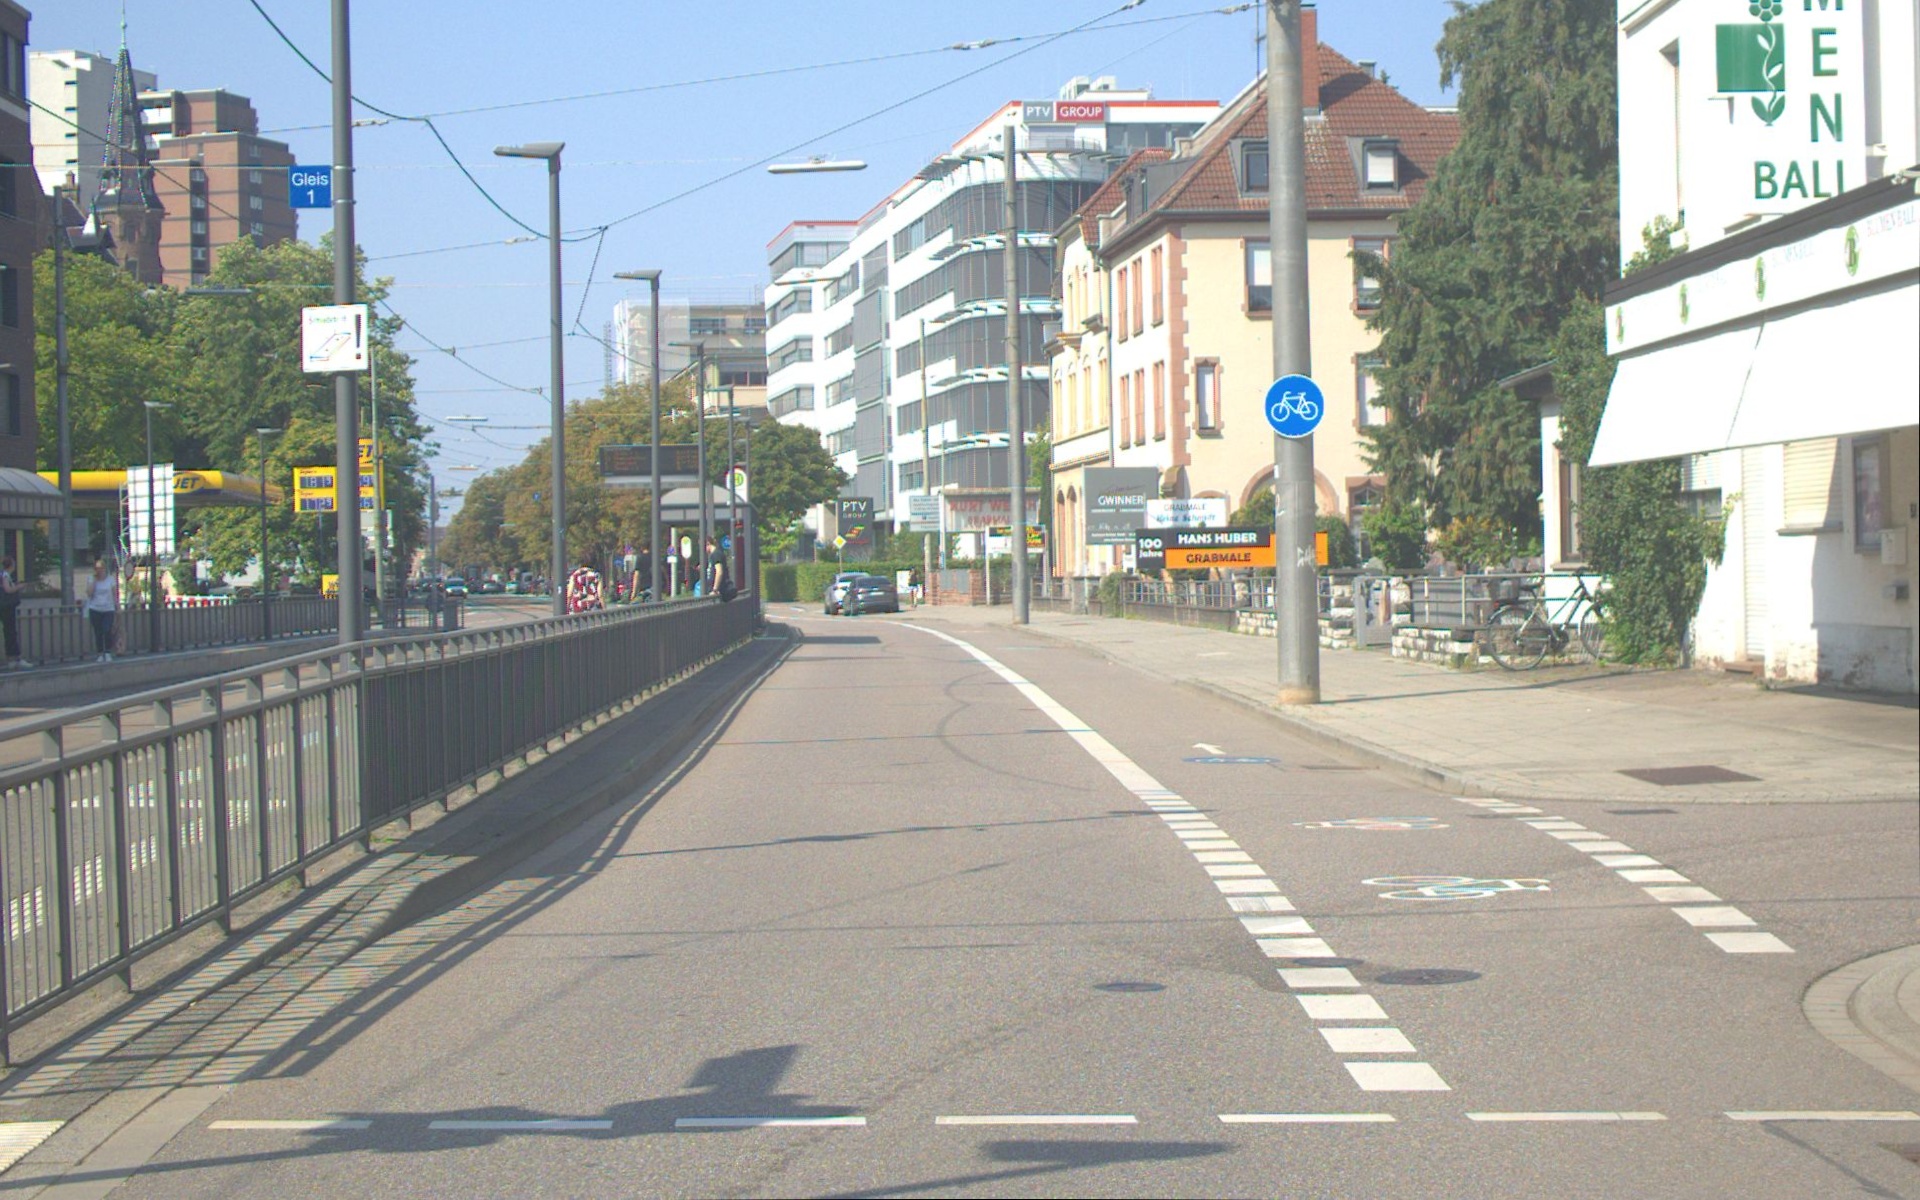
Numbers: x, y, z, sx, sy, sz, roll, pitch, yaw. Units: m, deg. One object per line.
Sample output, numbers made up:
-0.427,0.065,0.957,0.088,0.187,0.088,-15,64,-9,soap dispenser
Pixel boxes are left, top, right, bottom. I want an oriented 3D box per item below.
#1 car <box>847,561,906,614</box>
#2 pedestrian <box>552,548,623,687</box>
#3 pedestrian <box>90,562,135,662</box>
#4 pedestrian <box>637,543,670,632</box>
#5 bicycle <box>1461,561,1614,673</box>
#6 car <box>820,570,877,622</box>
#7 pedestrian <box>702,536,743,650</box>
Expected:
-3.092,-0.477,127.792,2.011,1.852,4.000,-3,1,0,car
-4.680,0.210,43.263,0.720,1.697,0.884,-3,0,0,pedestrian
-13.301,0.186,53.983,0.532,1.525,0.702,-3,0,-7,pedestrian
-5.975,-0.250,66.961,0.536,1.697,0.582,-3,0,-4,pedestrian
6.316,0.172,37.794,0.731,1.129,2.840,-5,1,-8,bicycle
-4.344,-0.169,134.019,2.011,1.852,4.000,-3,1,0,car
-3.612,-0.107,52.330,0.536,1.697,0.582,-3,0,-4,pedestrian
